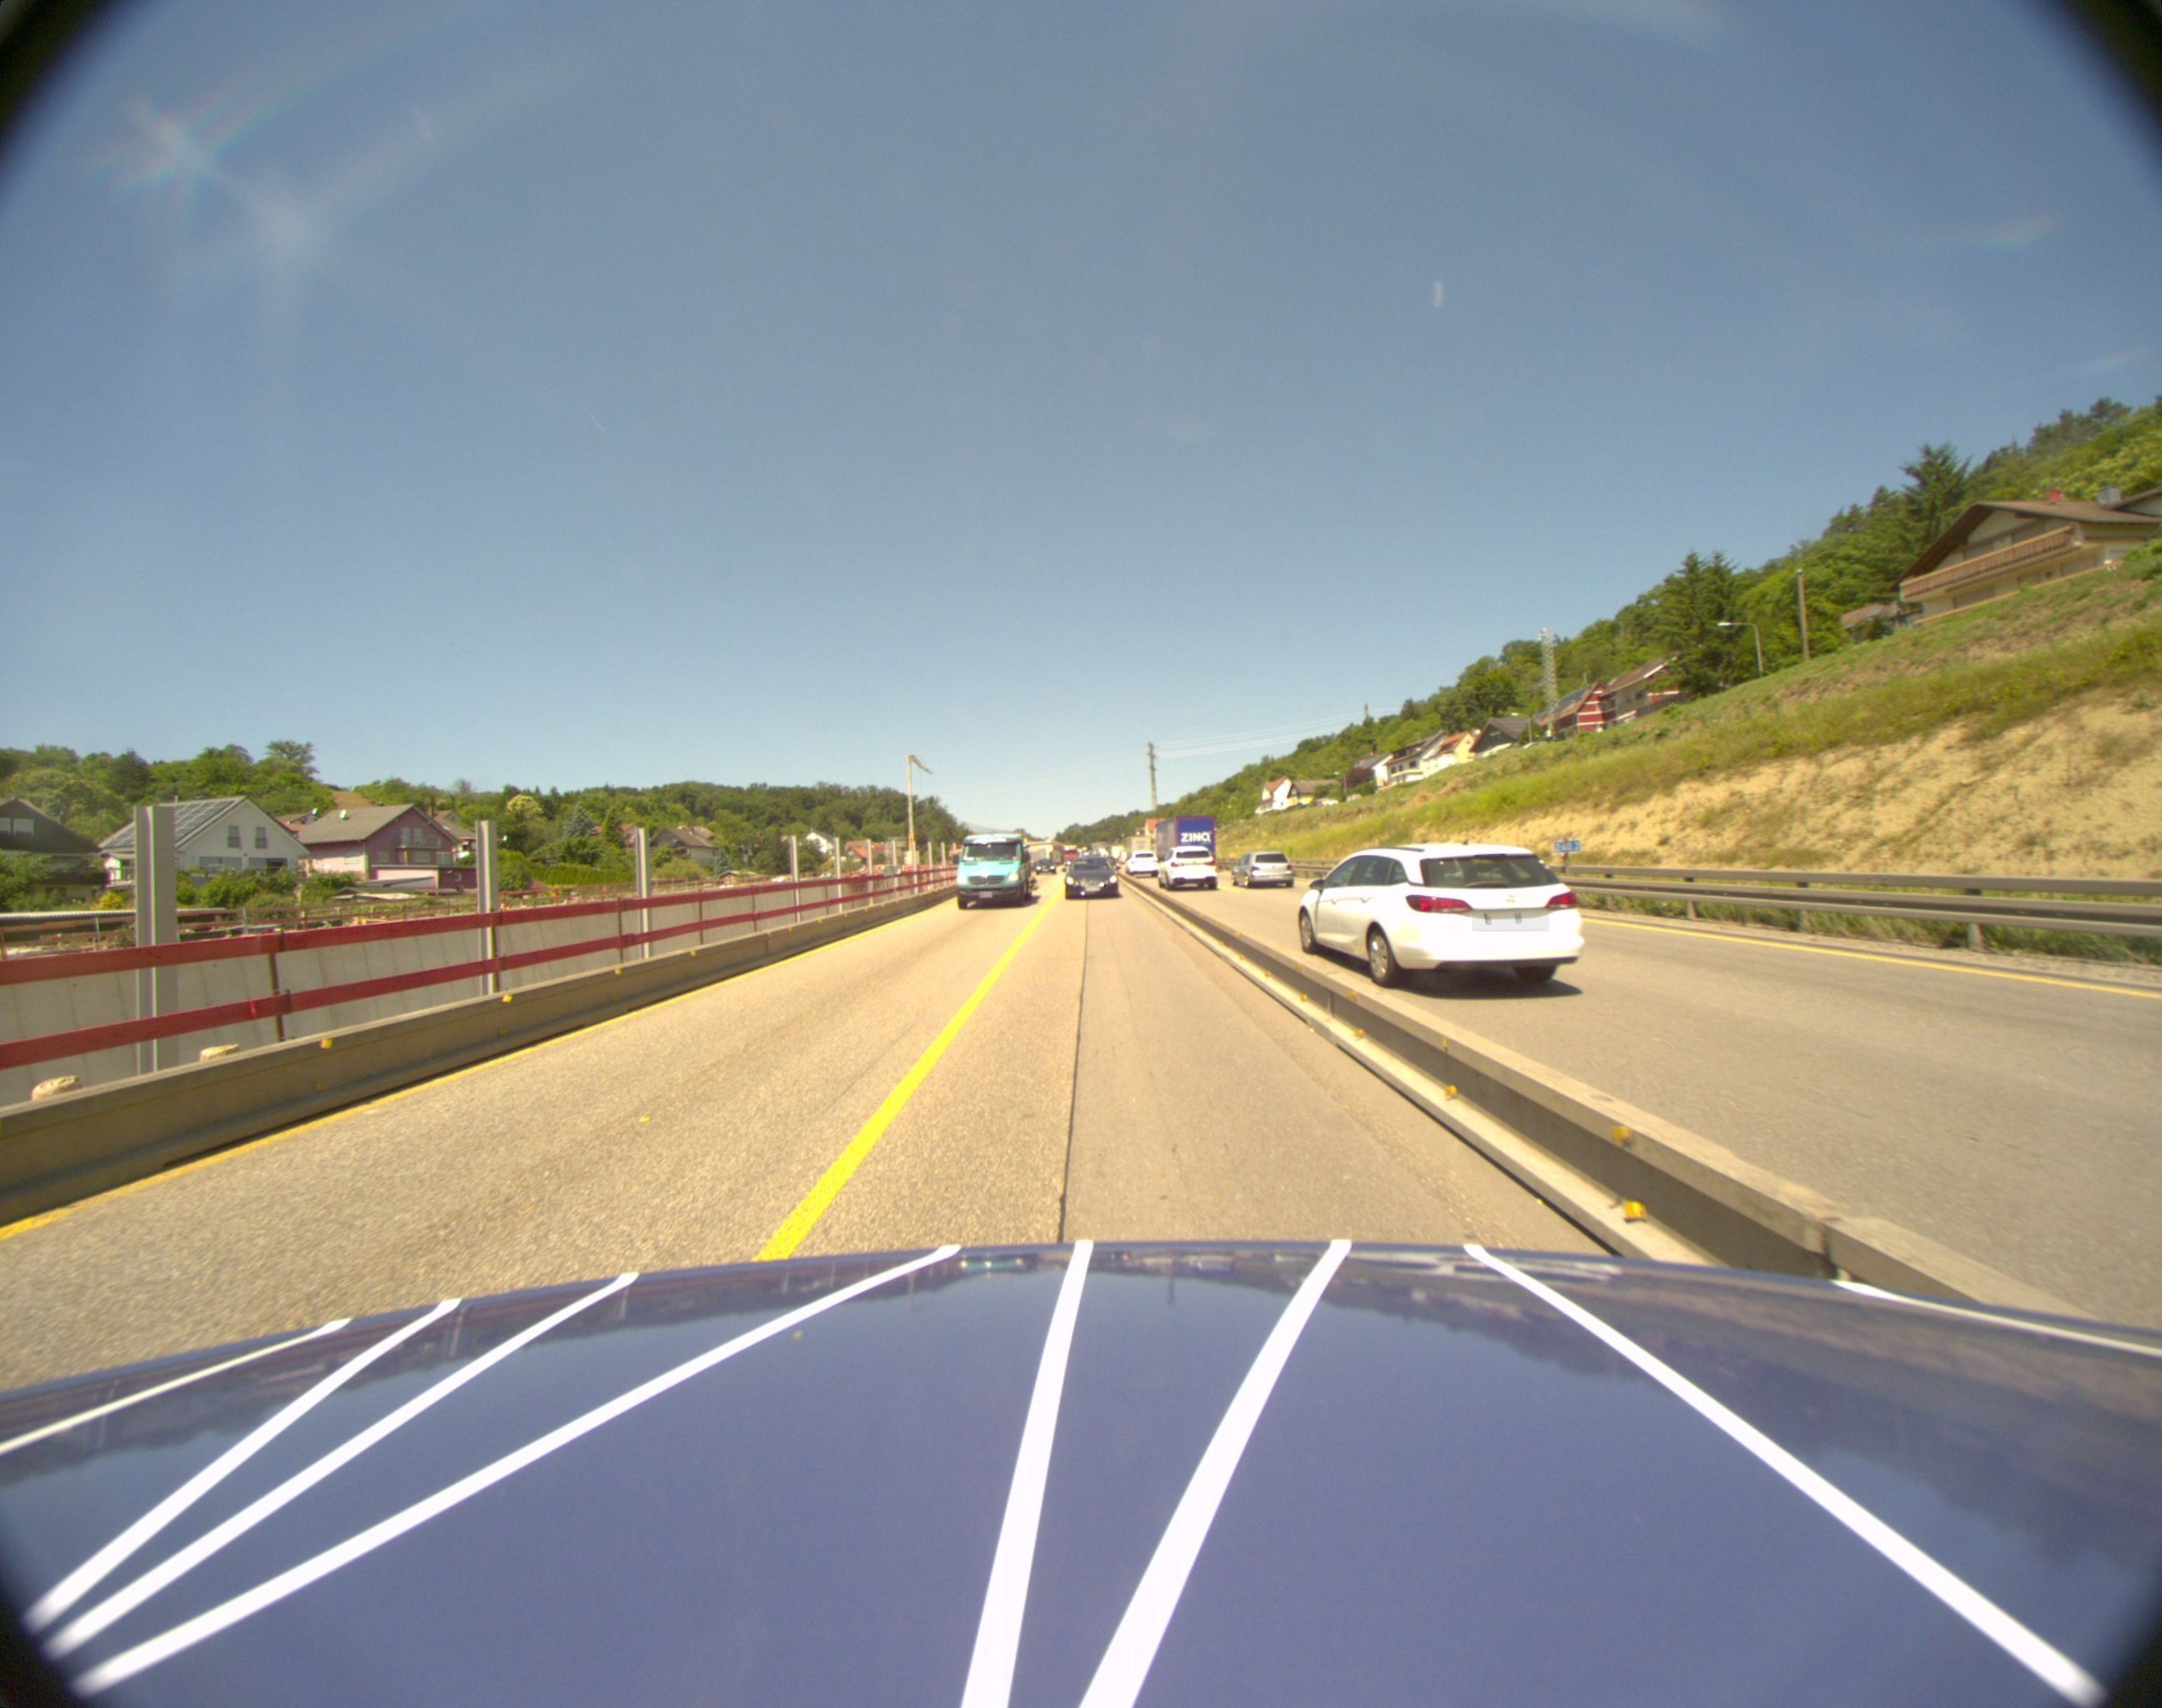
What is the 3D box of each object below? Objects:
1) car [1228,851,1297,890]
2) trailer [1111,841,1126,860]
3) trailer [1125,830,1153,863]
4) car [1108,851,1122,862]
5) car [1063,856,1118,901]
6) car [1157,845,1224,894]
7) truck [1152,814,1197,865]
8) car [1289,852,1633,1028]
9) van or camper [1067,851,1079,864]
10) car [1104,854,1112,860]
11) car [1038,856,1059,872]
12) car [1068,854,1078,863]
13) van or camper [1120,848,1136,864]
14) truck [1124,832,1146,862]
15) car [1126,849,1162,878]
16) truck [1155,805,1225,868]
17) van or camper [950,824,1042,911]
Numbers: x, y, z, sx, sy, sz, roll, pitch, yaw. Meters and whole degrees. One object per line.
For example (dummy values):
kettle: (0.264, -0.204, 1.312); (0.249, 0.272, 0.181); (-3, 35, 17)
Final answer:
car: (7.004, 0.597, 29.738); (1.706, 1.370, 3.966); (-2, 0, 0)
trailer: (8.831, -0.798, 180.480); (2.864, 4.100, 13.437); (-2, 0, 0)
trailer: (8.123, -1.008, 107.954); (2.817, 4.261, 14.034); (-2, 0, 0)
car: (5.310, 0.397, 118.761); (1.853, 1.577, 4.174); (-2, 0, 0)
car: (0.339, 0.818, 26.874); (1.747, 1.420, 4.000); (-2, 0, 1)
car: (4.200, 0.542, 29.908); (1.896, 1.698, 4.561); (-2, 0, 0)
truck: (7.903, -1.210, 64.861); (3.247, 4.136, 4.247); (-2, 1, 0)
car: (3.939, 0.754, 8.839); (1.811, 1.468, 4.279); (-2, 0, 0)
van or camper: (-1.662, 0.749, 158.819); (2.321, 2.513, 4.528); (-4, 0, 1)
car: (6.991, 0.700, 195.634); (1.772, 1.355, 4.411); (-2, 0, 0)
car: (-2.851, 0.864, 67.577); (1.611, 1.324, 3.496); (-3, 0, 1)
car: (-1.461, 0.819, 139.472); (1.679, 1.346, 3.486); (-4, 0, 1)
van or camper: (8.447, 0.308, 136.518); (2.340, 2.761, 7.517); (-2, 0, 0)
truck: (8.123, -1.038, 115.382); (2.781, 4.262, 4.676); (-2, 0, 0)
car: (3.889, 0.559, 47.243); (1.817, 1.628, 4.361); (-2, 0, 0)
truck: (7.922, -1.189, 57.641); (3.251, 4.135, 13.977); (-2, 0, 0)
van or camper: (-2.656, 0.403, 25.801); (2.097, 2.458, 7.671); (-2, 0, 1)
